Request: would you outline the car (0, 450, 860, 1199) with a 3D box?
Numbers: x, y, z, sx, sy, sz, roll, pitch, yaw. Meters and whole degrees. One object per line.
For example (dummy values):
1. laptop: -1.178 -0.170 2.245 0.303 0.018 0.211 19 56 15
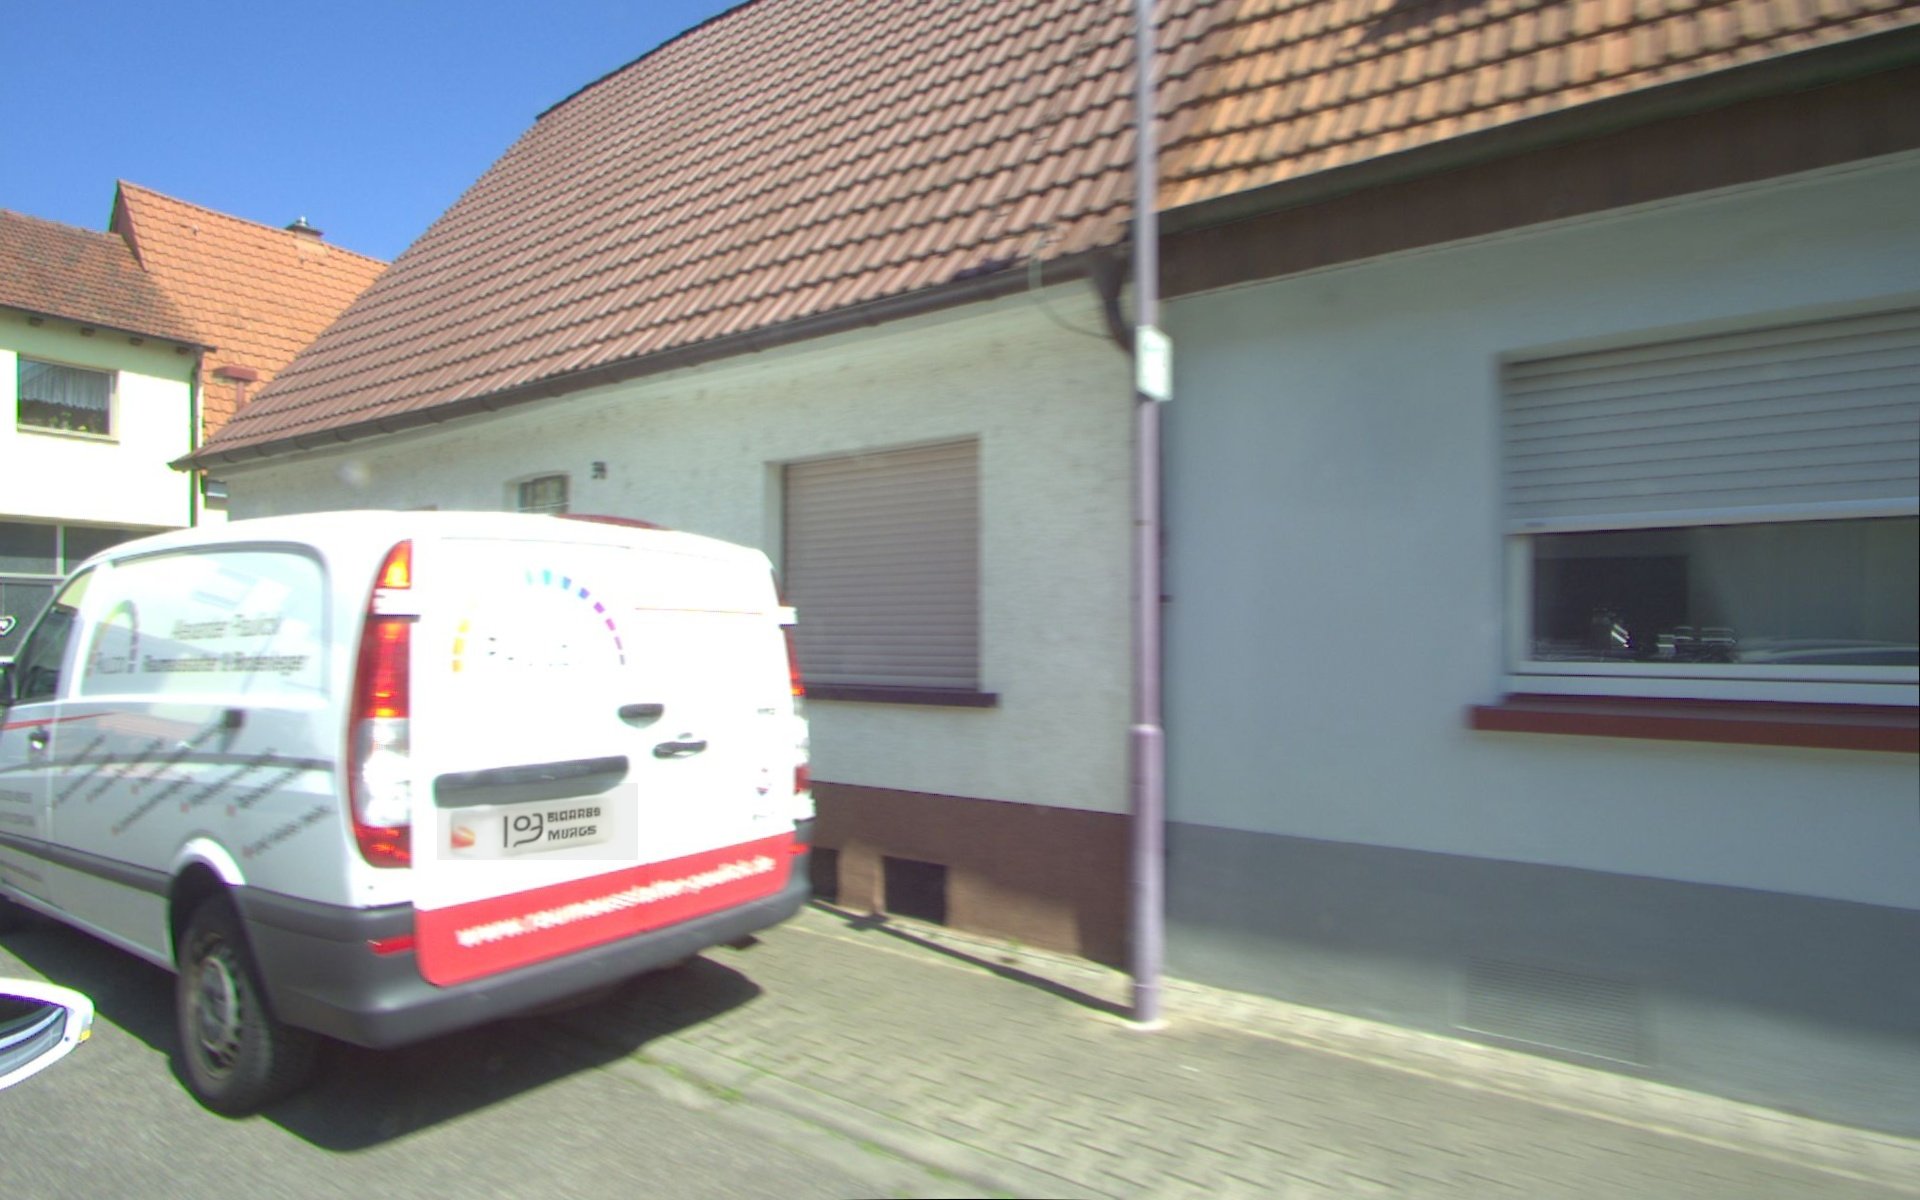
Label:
1. car: -3.116 0.639 4.813 5.194 1.862 2.008 -1 -3 35
